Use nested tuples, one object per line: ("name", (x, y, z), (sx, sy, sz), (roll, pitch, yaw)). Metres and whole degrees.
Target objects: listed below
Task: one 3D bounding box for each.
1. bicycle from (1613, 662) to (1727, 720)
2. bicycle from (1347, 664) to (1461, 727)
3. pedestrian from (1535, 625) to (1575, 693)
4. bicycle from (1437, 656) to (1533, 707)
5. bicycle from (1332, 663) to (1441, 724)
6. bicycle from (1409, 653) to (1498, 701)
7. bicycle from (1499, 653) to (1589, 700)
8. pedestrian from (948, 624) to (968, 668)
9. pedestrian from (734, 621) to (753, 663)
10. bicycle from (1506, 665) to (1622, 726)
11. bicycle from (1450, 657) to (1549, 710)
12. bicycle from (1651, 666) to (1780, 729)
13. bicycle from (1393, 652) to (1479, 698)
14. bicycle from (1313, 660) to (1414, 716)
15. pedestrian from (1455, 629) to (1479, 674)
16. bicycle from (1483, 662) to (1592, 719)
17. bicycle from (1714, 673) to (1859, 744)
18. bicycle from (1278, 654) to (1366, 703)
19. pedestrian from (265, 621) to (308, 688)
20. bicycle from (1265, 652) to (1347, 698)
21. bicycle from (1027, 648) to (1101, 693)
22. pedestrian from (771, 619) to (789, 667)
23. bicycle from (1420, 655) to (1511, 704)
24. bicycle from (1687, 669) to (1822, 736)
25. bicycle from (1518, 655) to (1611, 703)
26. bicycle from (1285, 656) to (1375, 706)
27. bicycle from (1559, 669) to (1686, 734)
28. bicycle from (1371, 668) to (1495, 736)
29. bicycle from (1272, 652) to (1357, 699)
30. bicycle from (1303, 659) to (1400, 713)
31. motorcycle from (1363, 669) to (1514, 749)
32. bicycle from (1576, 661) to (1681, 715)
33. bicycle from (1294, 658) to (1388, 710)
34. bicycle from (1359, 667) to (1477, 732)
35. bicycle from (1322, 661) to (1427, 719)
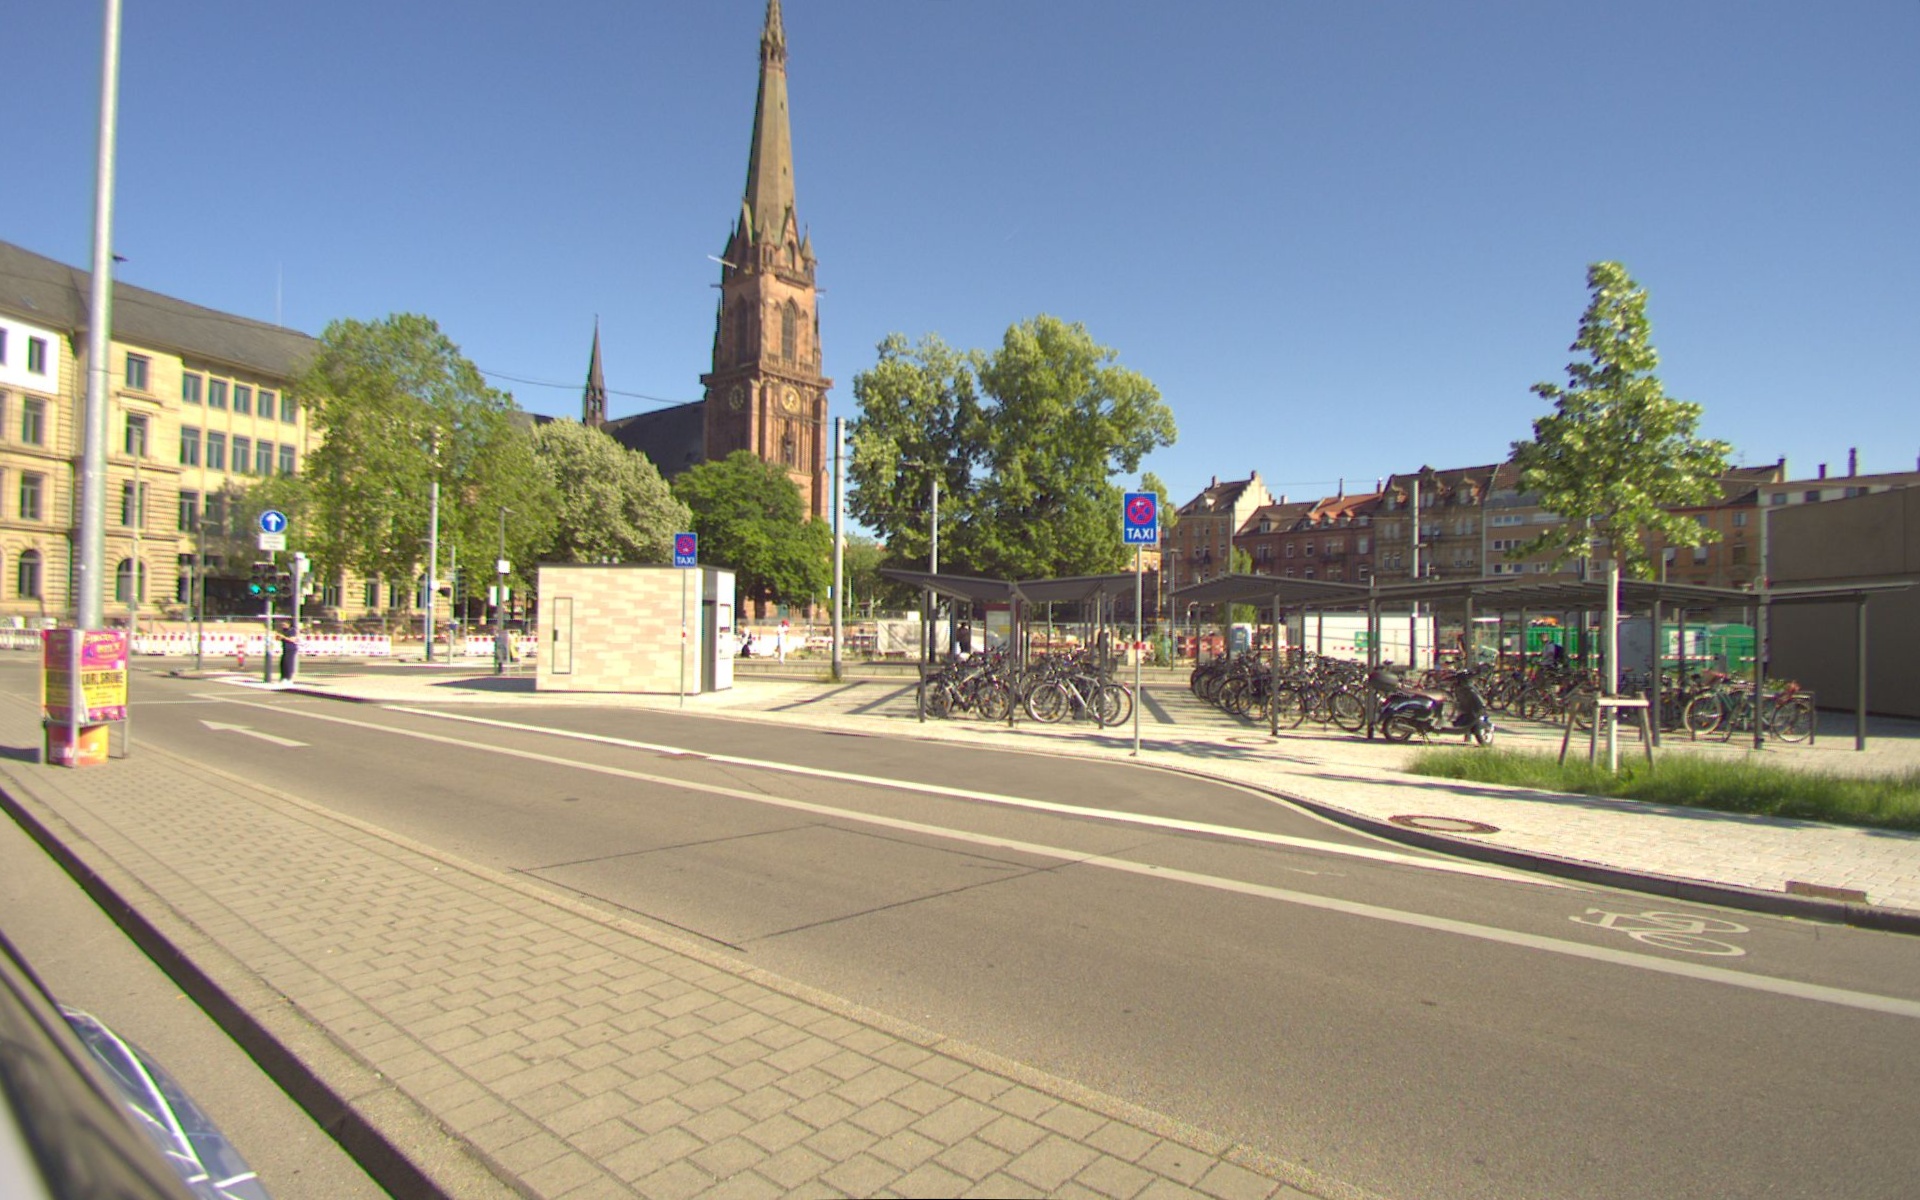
("bicycle", (13.800, 1.768, 19.707), (1.765, 1.046, 0.567), (1, -3, 4))
("bicycle", (7.922, 1.705, 18.105), (1.765, 1.046, 0.567), (1, -3, 4))
("pedestrian", (15.371, 1.506, 26.146), (0.670, 1.736, 0.620), (1, -2, -27))
("bicycle", (11.437, 1.776, 22.092), (1.765, 1.046, 0.567), (1, -3, 4))
("bicycle", (7.932, 1.728, 18.849), (1.765, 1.046, 0.567), (1, -3, 4))
("bicycle", (11.449, 1.783, 23.507), (1.765, 1.046, 0.567), (1, -3, 4))
("bicycle", (13.835, 1.814, 23.992), (1.765, 1.046, 0.567), (1, -3, 4))
("pedestrian", (-0.062, 1.761, 39.132), (0.518, 1.667, 0.559), (-1, 0, 41))
("pedestrian", (-9.212, 1.773, 43.073), (0.673, 1.736, 0.537), (-3, -6, 6))
("bicycle", (11.216, 1.764, 18.830), (1.765, 1.046, 0.567), (1, -3, 4))
("bicycle", (11.376, 1.761, 21.375), (1.765, 1.046, 0.567), (1, -3, 4))
("bicycle", (13.596, 1.749, 18.252), (1.769, 1.046, 0.566), (1, -3, 12))
("bicycle", (11.381, 1.780, 24.221), (1.765, 1.046, 0.567), (1, -3, 4))
("bicycle", (8.024, 1.745, 20.172), (1.765, 1.046, 0.567), (1, -3, 4))
("pedestrian", (17.703, 1.799, 35.328), (0.581, 1.530, 0.559), (1, -2, 6))
("bicycle", (11.290, 1.762, 19.826), (1.765, 1.046, 0.567), (1, -3, 4))
("bicycle", (13.163, 1.716, 16.152), (1.765, 1.046, 0.567), (1, -3, 4))
("bicycle", (8.202, 1.775, 22.967), (1.765, 1.046, 0.567), (1, -3, 4))
("pedestrian", (-17.578, 1.399, 26.413), (0.648, 1.693, 0.779), (-1, 0, 42))
("bicycle", (8.275, 1.794, 24.237), (1.765, 1.046, 0.567), (1, -3, 4))
("bicycle", (2.533, 1.715, 24.816), (1.765, 1.046, 0.567), (1, -3, 4))
("pedestrian", (-6.776, 1.620, 38.082), (0.529, 1.736, 0.684), (0, -6, -19))
("bicycle", (11.416, 1.789, 22.886), (1.765, 1.046, 0.567), (1, -3, 4))
("bicycle", (13.390, 1.721, 17.086), (1.765, 1.046, 0.567), (1, -3, 4))
("bicycle", (13.890, 1.814, 23.277), (1.765, 1.046, 0.567), (1, -3, 4))
("bicycle", (8.152, 1.783, 22.364), (1.765, 1.046, 0.567), (1, -3, 4))
("bicycle", (11.457, 1.750, 17.538), (1.765, 1.046, 0.567), (1, -3, 4))
("bicycle", (7.854, 1.690, 16.839), (1.765, 1.046, 0.567), (1, -3, 4))
("bicycle", (8.245, 1.755, 23.601), (1.765, 1.046, 0.567), (1, -3, 4))
("bicycle", (8.067, 1.766, 20.882), (1.765, 1.046, 0.567), (1, -3, 4))
("motorcycle", (7.173, 1.624, 15.240), (1.962, 1.128, 0.593), (0, -2, 8))
("bicycle", (13.848, 1.815, 20.991), (1.765, 1.046, 0.567), (1, -3, 4))
("bicycle", (8.117, 1.778, 21.600), (1.765, 1.046, 0.567), (1, -3, 4))
("bicycle", (7.897, 1.711, 17.501), (1.765, 1.046, 0.567), (1, -3, 4))
("bicycle", (7.964, 1.728, 19.485), (1.765, 1.046, 0.567), (1, -3, 4))
